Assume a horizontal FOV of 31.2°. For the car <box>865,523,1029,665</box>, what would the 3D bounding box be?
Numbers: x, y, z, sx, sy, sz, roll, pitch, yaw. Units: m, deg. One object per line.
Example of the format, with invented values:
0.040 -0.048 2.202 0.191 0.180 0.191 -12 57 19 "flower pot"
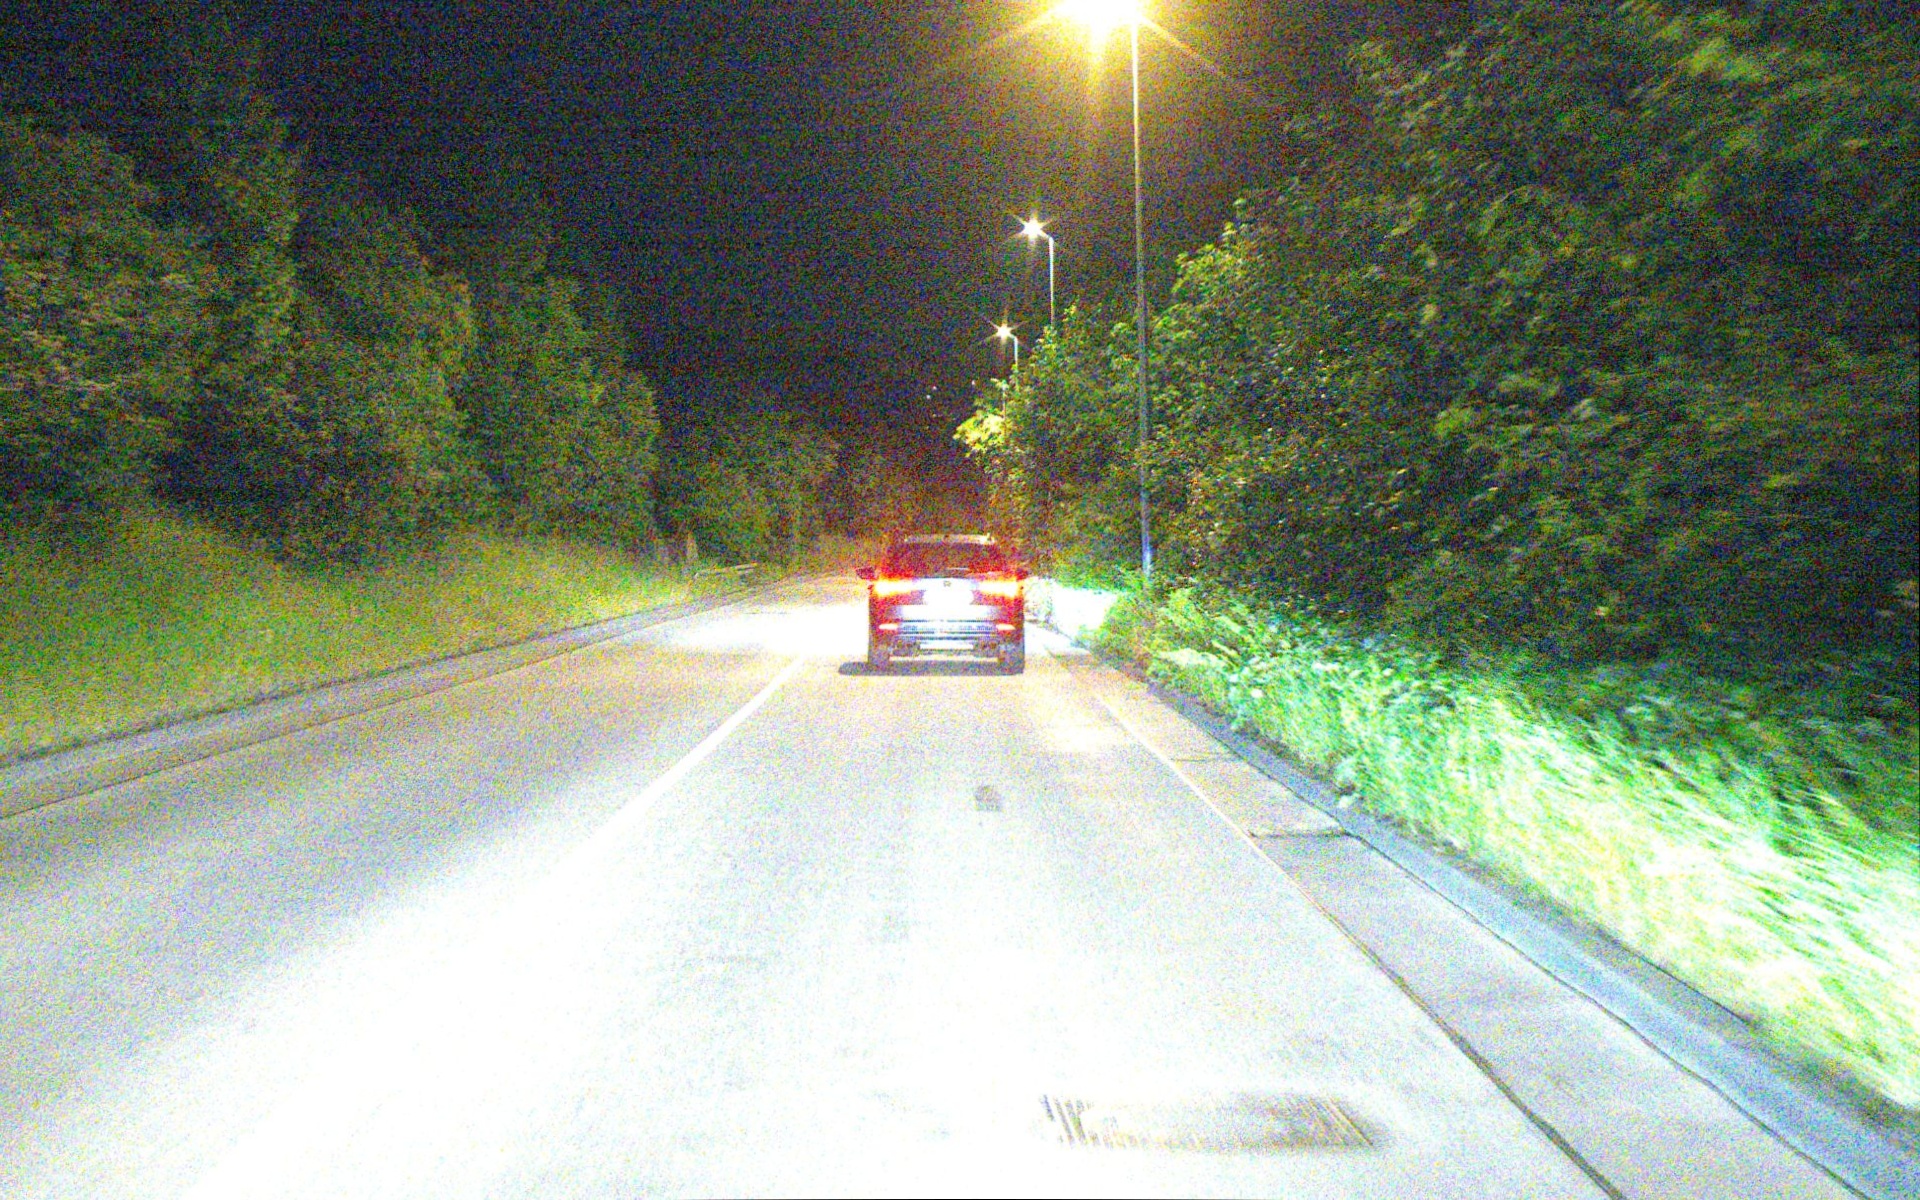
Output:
-0.203 -0.098 40.447 1.814 1.568 3.944 1 1 -2 "car"
